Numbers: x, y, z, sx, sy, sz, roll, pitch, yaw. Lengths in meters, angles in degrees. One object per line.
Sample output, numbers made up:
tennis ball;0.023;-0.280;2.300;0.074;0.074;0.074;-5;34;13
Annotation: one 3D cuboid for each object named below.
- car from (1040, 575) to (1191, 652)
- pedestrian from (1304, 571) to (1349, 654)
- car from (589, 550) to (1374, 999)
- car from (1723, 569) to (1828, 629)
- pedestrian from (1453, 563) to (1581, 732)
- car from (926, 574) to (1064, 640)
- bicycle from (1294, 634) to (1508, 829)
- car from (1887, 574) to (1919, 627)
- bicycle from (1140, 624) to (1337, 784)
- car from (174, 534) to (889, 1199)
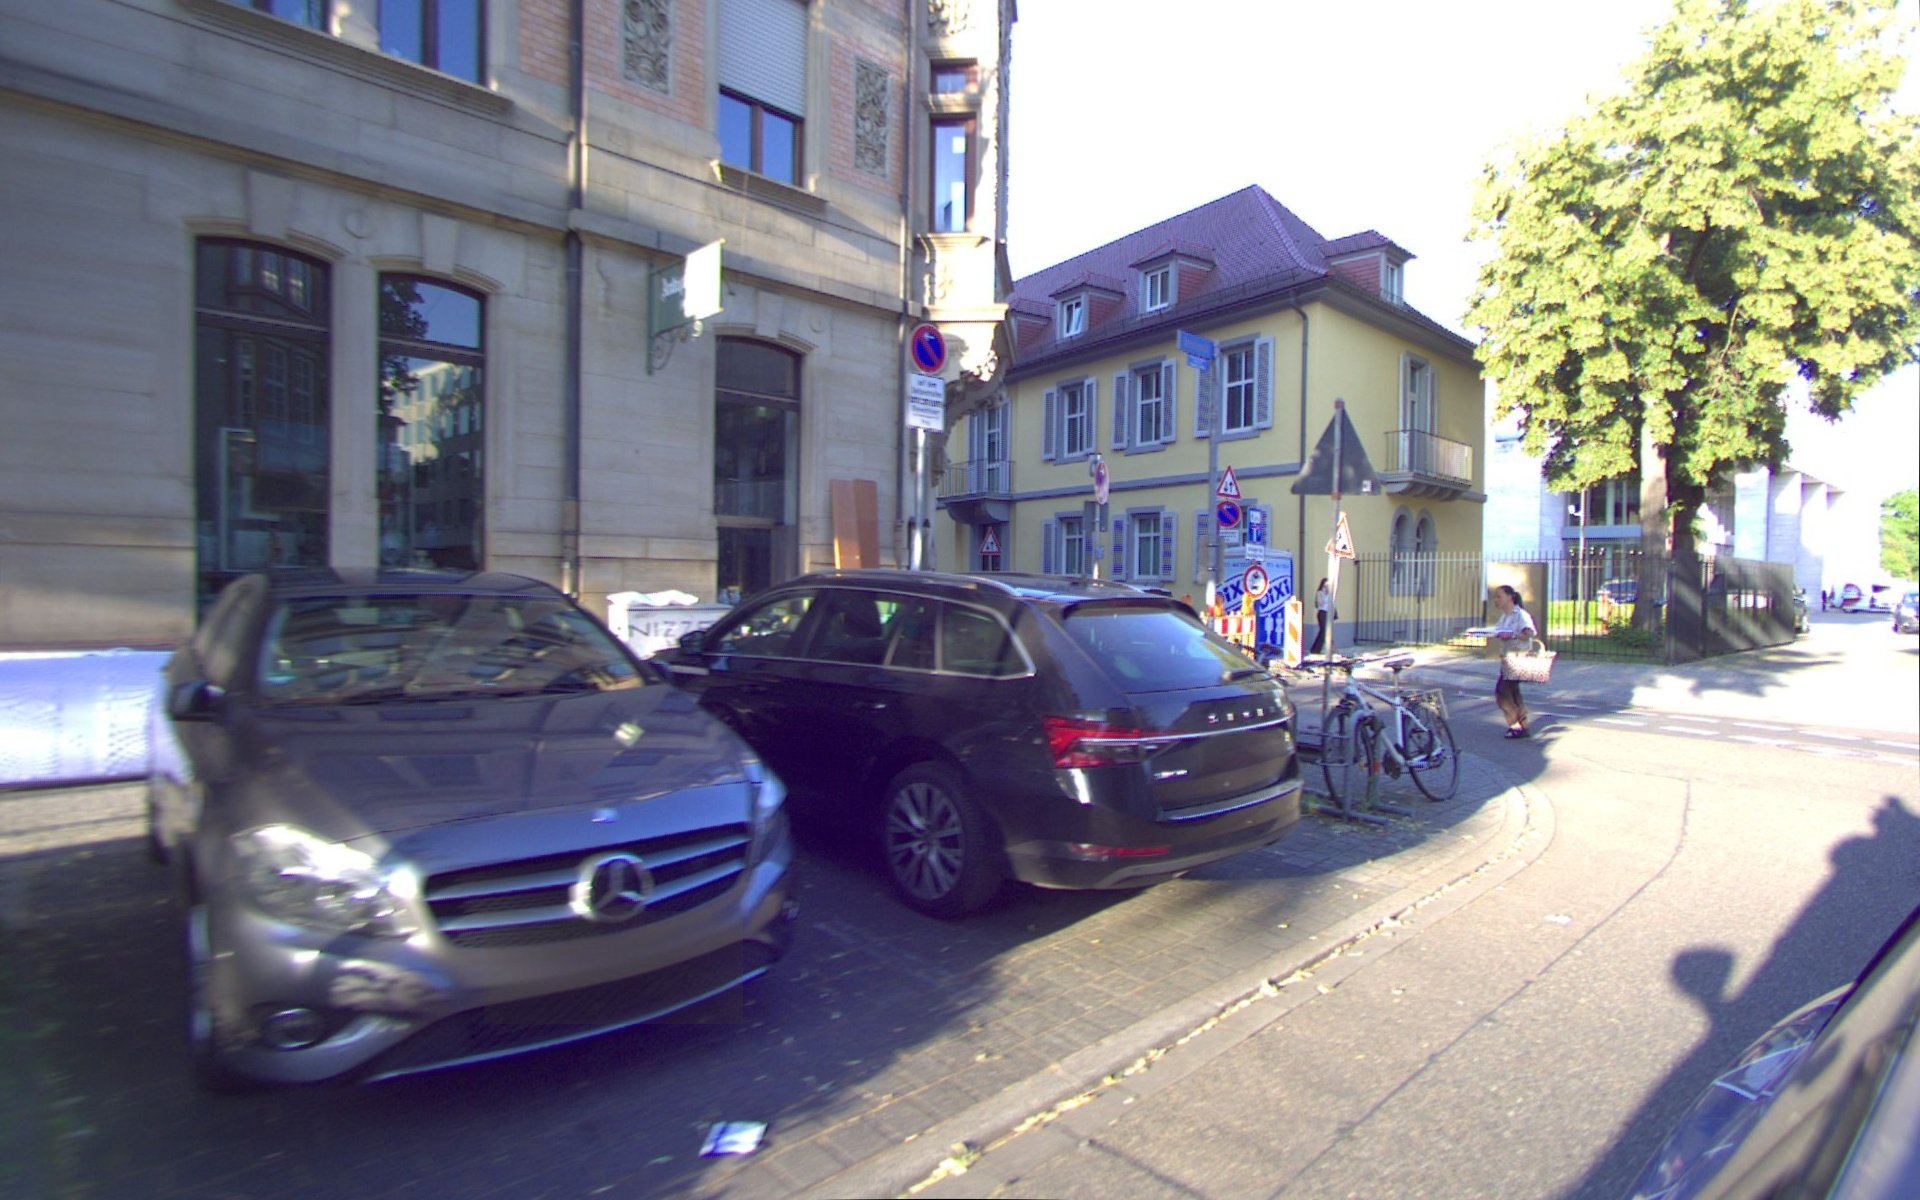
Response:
car;3.390;0.263;22.453;1.515;1.539;3.223;2;1;-33
pedestrian;7.330;0.239;20.243;0.459;1.614;0.674;0;1;-31
car;-0.271;0.518;5.818;1.879;1.529;4.532;-1;3;-43
car;26.245;-0.078;32.548;3.990;1.757;1.709;-1;4;-38
pedestrian;5.745;0.469;10.478;0.943;1.679;0.639;1;1;5
car;0.807;0.132;26.106;1.515;1.539;3.981;2;1;-33
bicycle;2.964;0.796;6.709;1.800;1.060;0.570;0;2;-41
car;30.832;-0.019;32.128;3.616;1.604;1.708;-2;2;-41
bicycle;2.174;0.728;7.749;0.638;1.026;1.802;2;2;45
car;-2.353;0.500;4.531;1.834;1.497;4.539;0;3;-38
